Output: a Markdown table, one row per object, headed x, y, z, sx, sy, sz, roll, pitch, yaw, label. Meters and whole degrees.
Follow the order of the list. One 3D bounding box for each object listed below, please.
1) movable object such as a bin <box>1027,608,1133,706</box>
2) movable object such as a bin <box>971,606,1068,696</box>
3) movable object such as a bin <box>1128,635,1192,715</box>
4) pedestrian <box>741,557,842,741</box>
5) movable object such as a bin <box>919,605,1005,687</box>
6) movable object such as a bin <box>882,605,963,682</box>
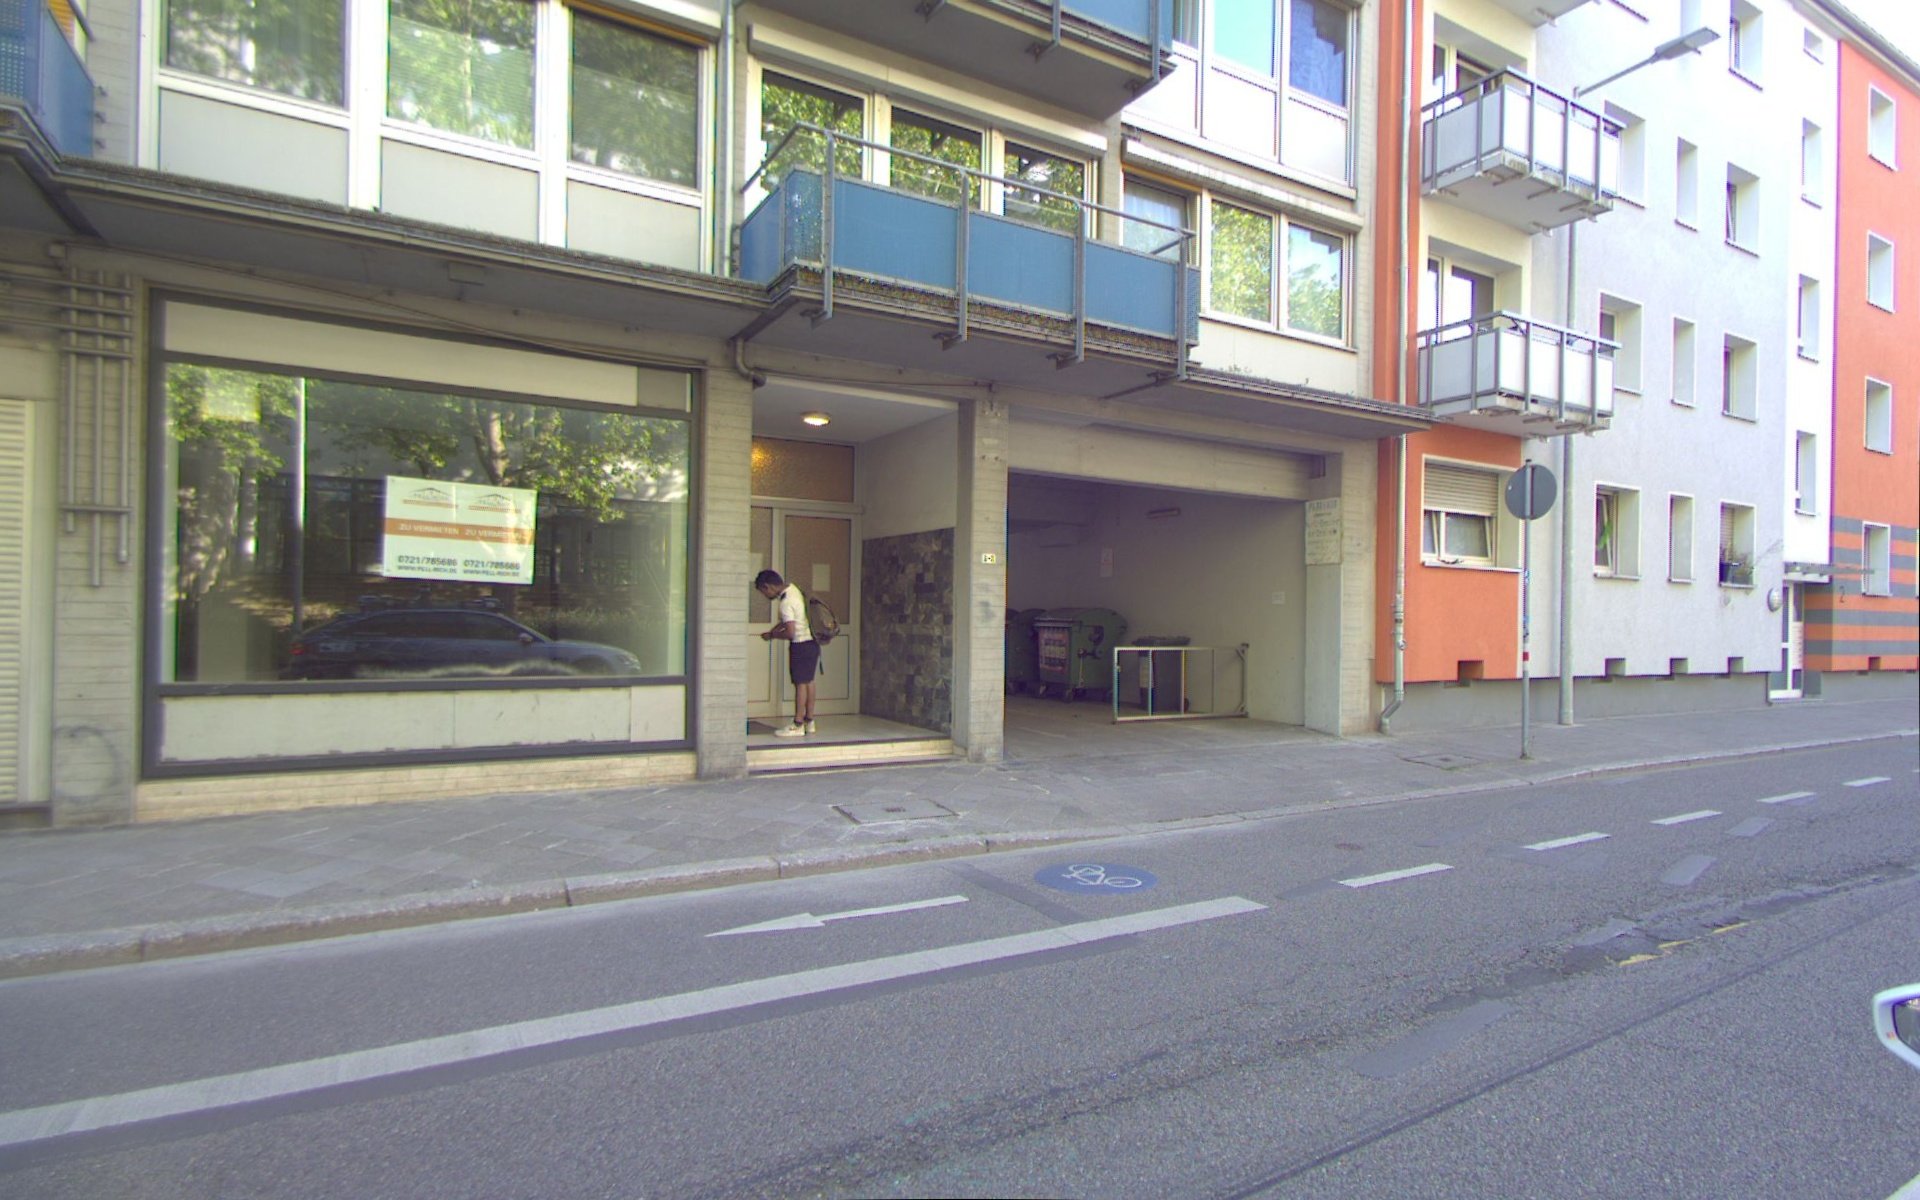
| x | y | z | sx | sy | sz | roll | pitch | yaw | label |
| --- | --- | --- | --- | --- | --- | --- | --- | --- | --- |
| 1.873 | 0.874 | 15.812 | 1.120 | 1.444 | 1.268 | 2 | 0 | -28 | movable object such as a bin |
| 1.006 | 0.855 | 17.153 | 1.120 | 1.444 | 1.268 | 2 | 0 | -28 | movable object such as a bin |
| 2.885 | 1.073 | 14.488 | 0.713 | 1.094 | 0.533 | 2 | 0 | -29 | movable object such as a bin |
| -1.564 | 0.446 | 9.455 | 0.821 | 1.639 | 0.793 | 2 | 0 | -4 | pedestrian |
| 0.025 | 0.831 | 18.696 | 1.120 | 1.444 | 1.268 | 2 | 0 | -28 | movable object such as a bin |
| -0.744 | 0.834 | 19.788 | 1.120 | 1.444 | 1.268 | 2 | 0 | -28 | movable object such as a bin |
